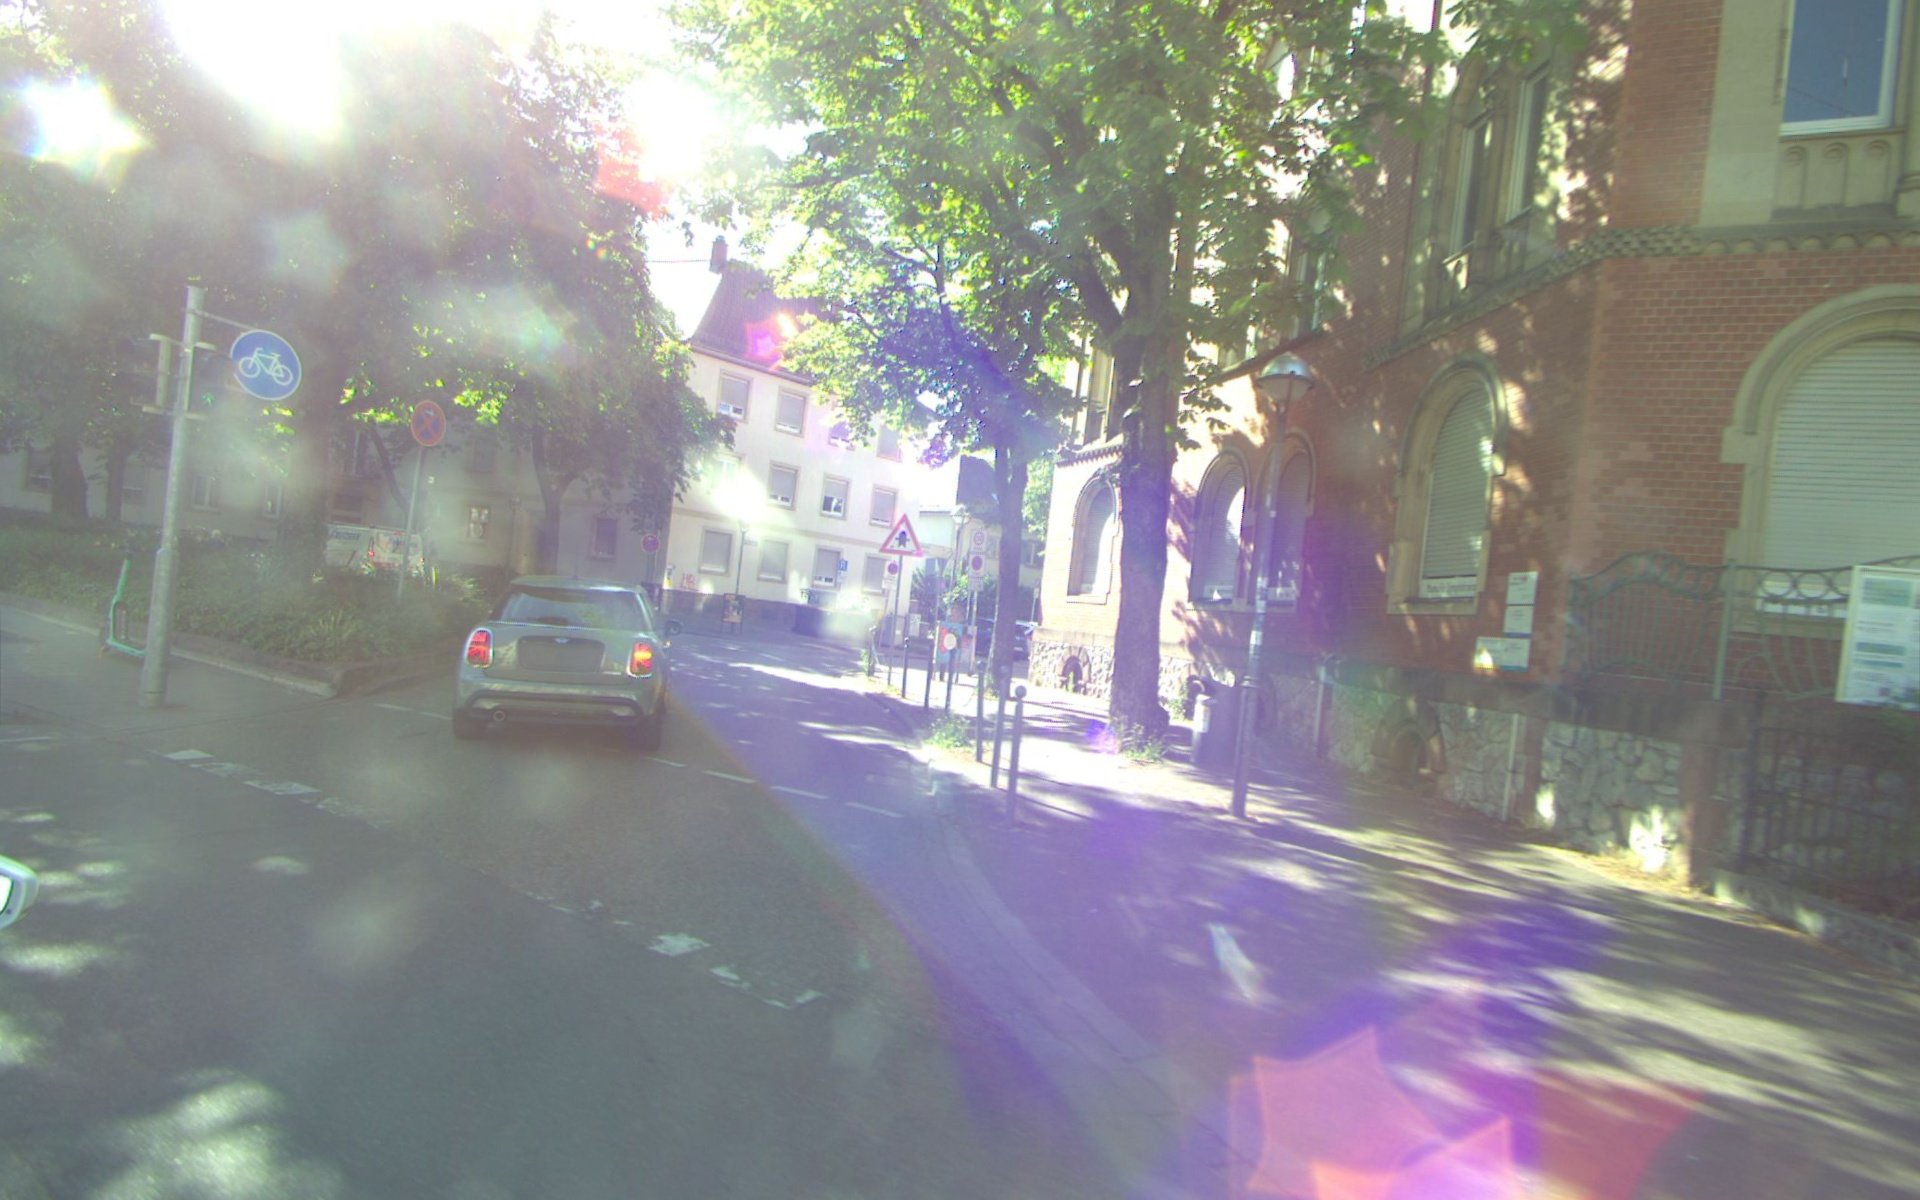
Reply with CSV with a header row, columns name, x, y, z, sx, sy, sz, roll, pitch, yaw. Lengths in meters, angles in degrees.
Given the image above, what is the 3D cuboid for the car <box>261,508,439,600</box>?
name,x,y,z,sx,sy,sz,roll,pitch,yaw
car,-18.697,-1.411,30.839,4.855,2.234,2.125,6,-2,24

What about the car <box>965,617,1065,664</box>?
name,x,y,z,sx,sy,sz,roll,pitch,yaw
car,2.249,1.649,41.374,3.747,1.494,1.597,5,-2,38

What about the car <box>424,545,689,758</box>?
name,x,y,z,sx,sy,sz,roll,pitch,yaw
car,-3.694,0.456,9.924,1.793,1.505,3.991,7,-2,-15

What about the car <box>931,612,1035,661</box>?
name,x,y,z,sx,sy,sz,roll,pitch,yaw
car,0.890,1.403,39.356,3.747,1.494,1.597,5,-2,38

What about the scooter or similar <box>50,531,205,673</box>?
name,x,y,z,sx,sy,sz,roll,pitch,yaw
scooter or similar,-8.745,0.021,10.568,1.305,1.325,0.678,5,-1,27
